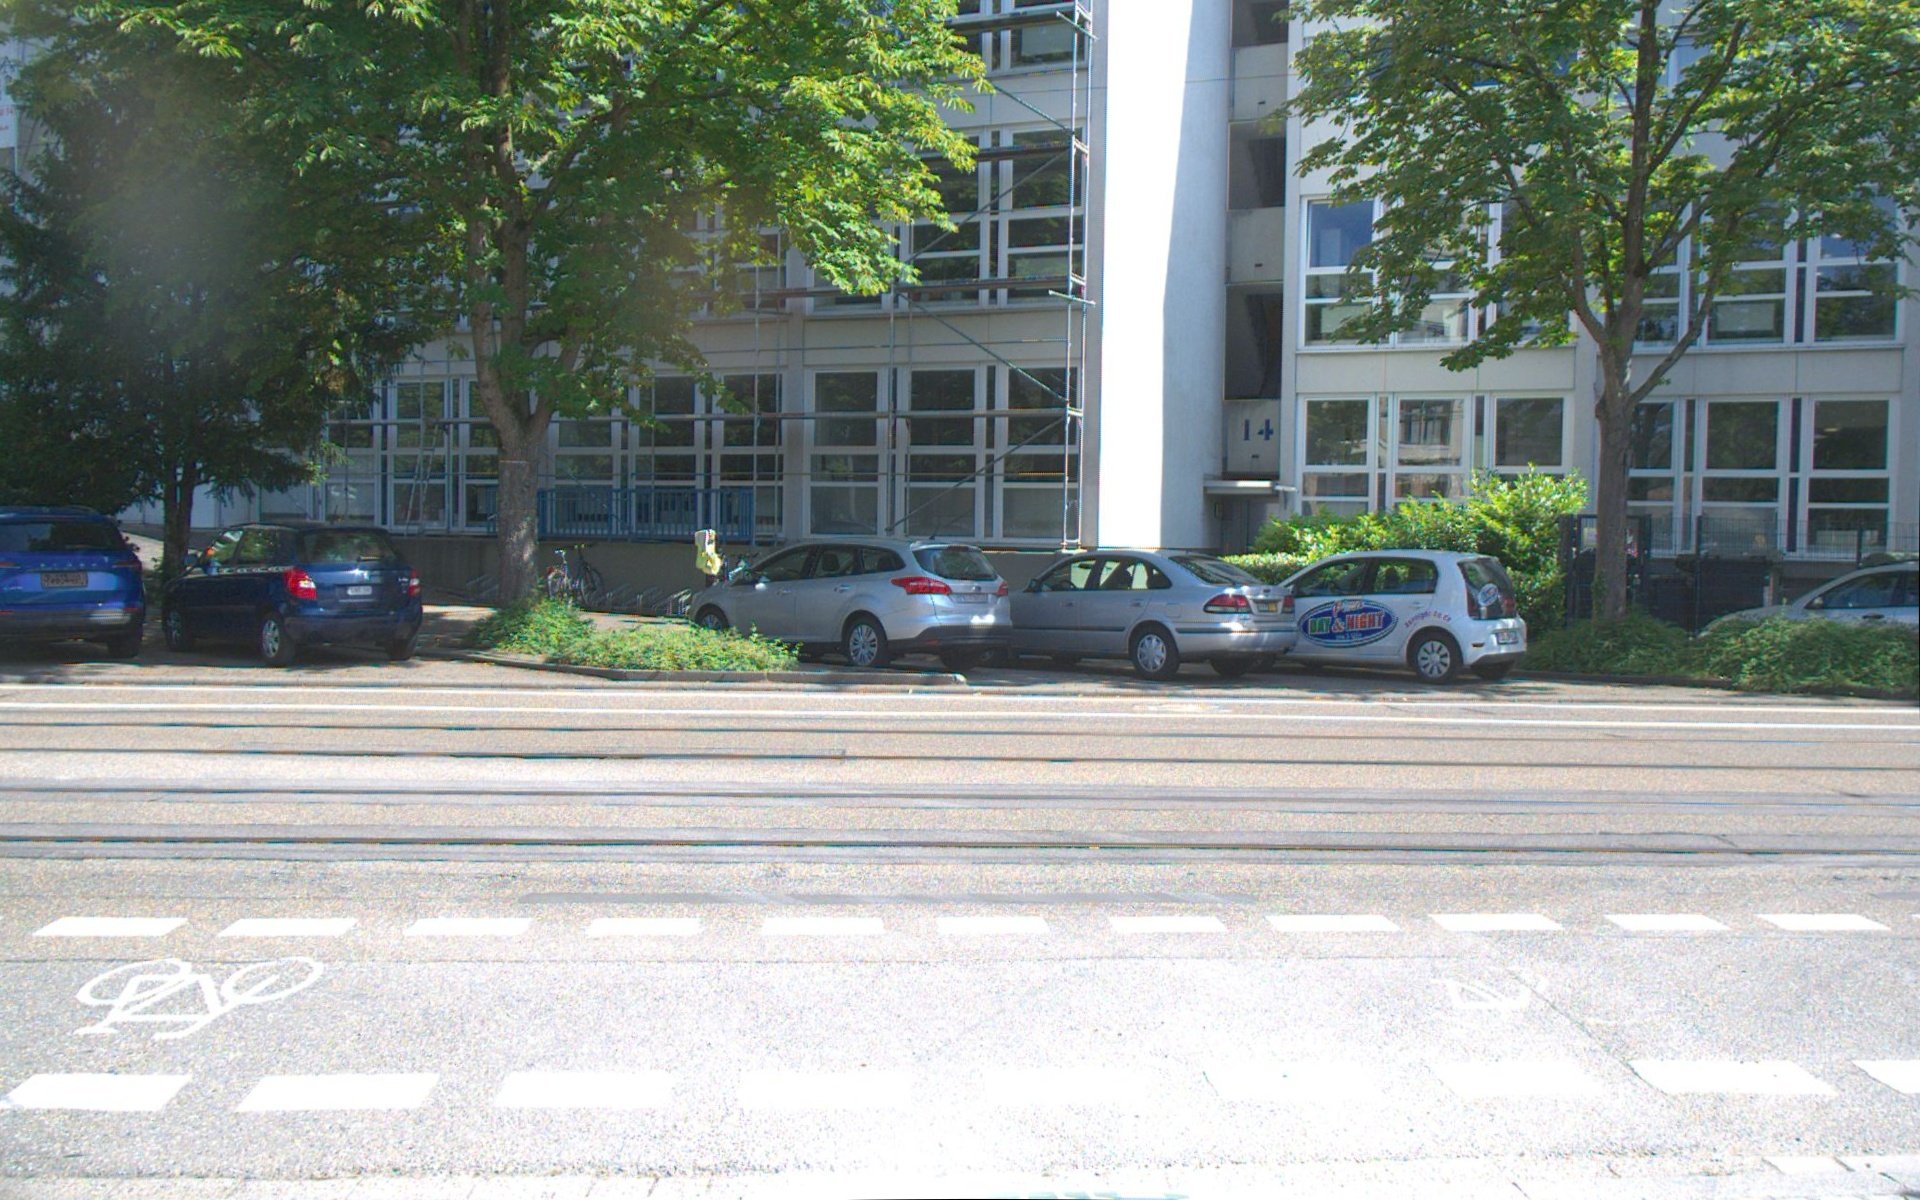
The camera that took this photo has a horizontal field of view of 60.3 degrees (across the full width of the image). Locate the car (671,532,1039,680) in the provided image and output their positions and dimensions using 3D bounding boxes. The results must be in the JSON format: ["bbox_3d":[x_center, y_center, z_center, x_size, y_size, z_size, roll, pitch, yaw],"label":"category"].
[{"bbox_3d":[-1.320,-0.014,19.405,4.356,1.511,1.774,3,3,42],"label":"car"}]

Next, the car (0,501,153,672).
[{"bbox_3d":[-10.544,-0.244,18.352,1.767,1.650,3.883,-2,5,-44],"label":"car"}]

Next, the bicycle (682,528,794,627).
[{"bbox_3d":[-3.436,-0.365,25.836,0.648,1.478,2.088,2,2,27],"label":"bicycle"}]

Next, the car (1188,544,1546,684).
[{"bbox_3d":[4.776,0.101,19.735,3.876,1.512,1.603,1,2,43],"label":"car"}]

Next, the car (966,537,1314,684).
[{"bbox_3d":[2.025,0.047,19.329,3.878,1.511,1.602,3,3,44],"label":"car"}]

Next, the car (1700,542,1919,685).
[{"bbox_3d":[11.455,0.156,20.066,4.262,1.632,1.551,2,2,39],"label":"car"}]

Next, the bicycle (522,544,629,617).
[{"bbox_3d":[-6.157,-0.340,26.594,0.725,1.104,2.205,1,2,15],"label":"bicycle"}]

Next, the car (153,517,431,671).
[{"bbox_3d":[-7.539,-0.126,18.545,3.396,1.557,1.567,3,3,42],"label":"car"}]
